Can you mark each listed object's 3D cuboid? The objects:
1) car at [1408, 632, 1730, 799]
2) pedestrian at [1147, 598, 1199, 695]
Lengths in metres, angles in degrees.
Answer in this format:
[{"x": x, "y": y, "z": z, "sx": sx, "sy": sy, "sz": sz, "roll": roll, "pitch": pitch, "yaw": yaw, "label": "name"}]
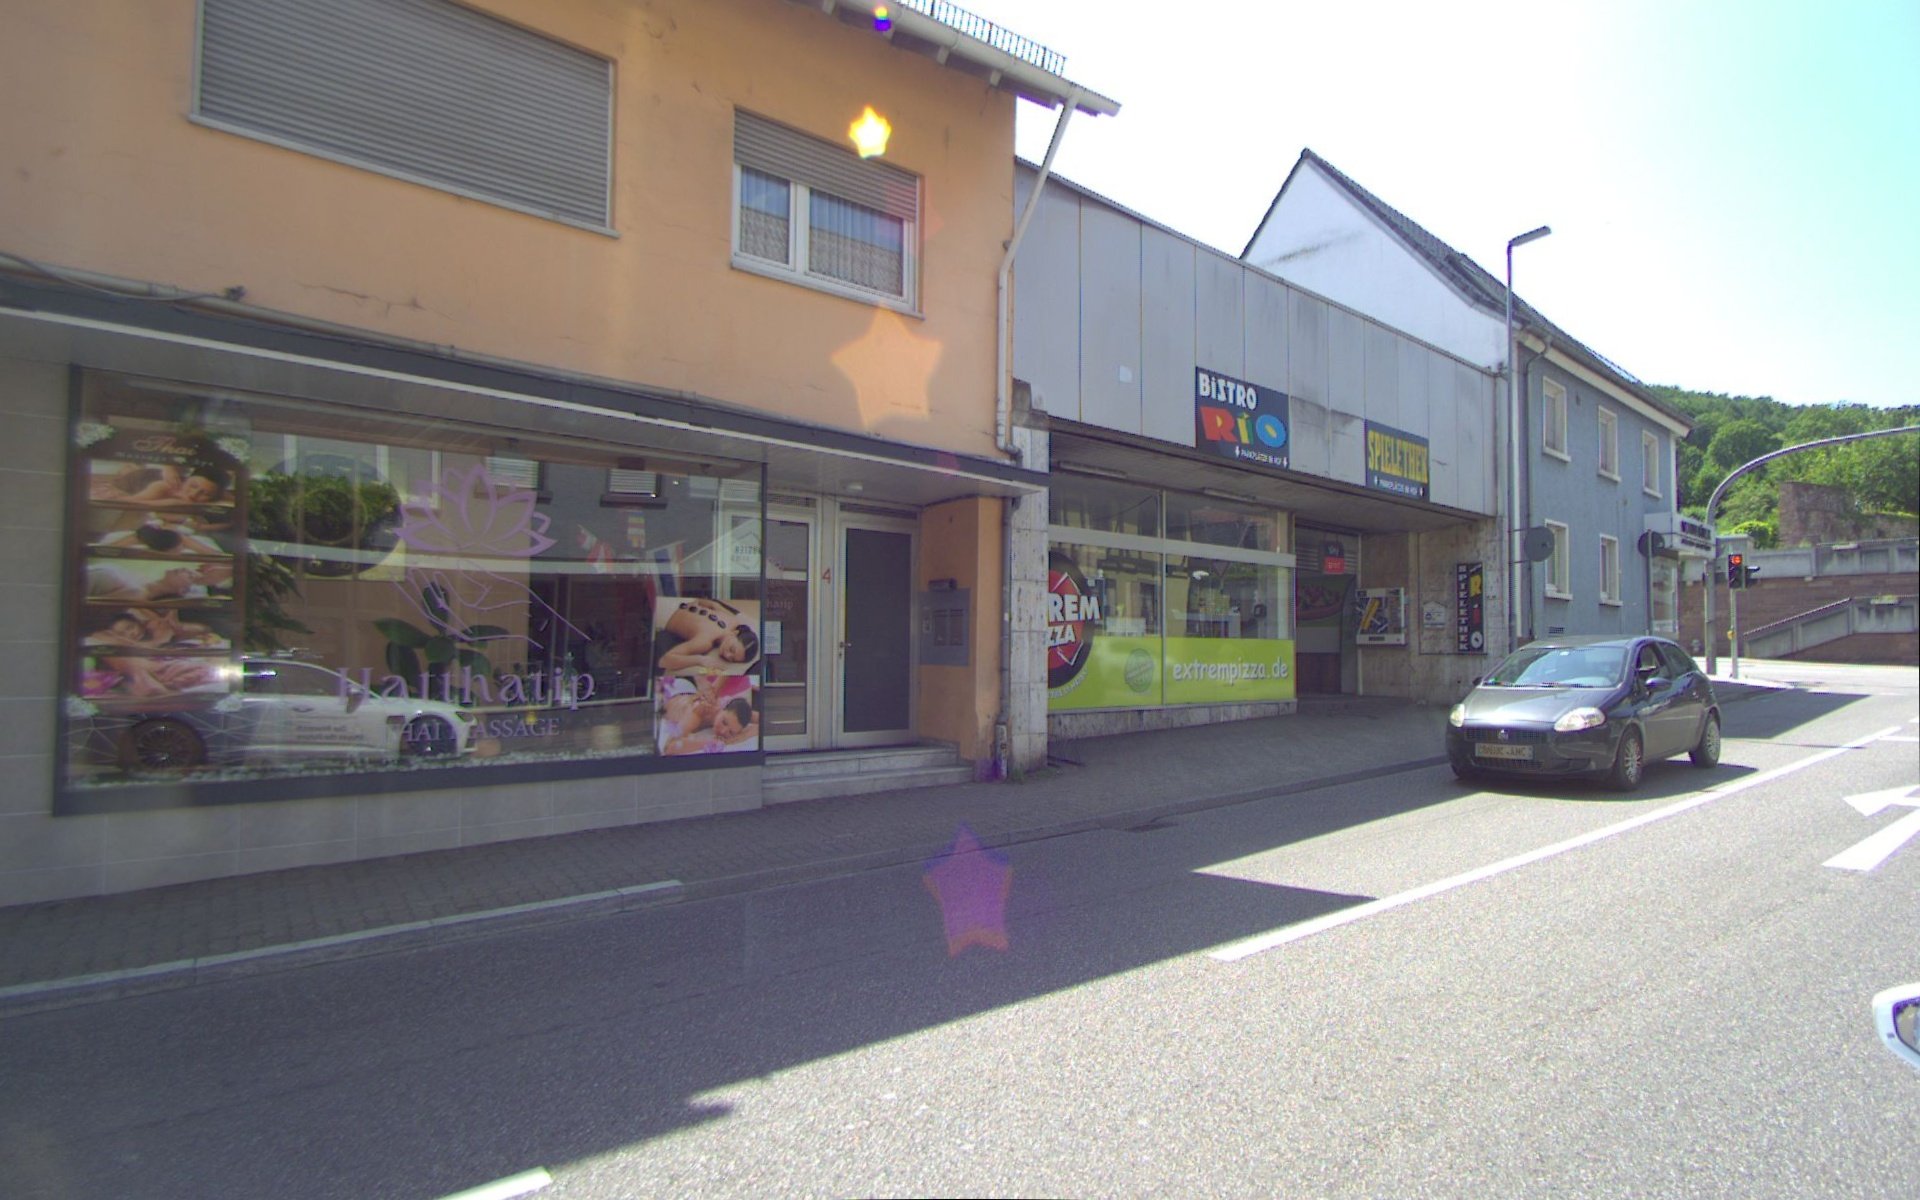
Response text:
[{"x": 6.671, "y": 1.119, "z": 10.884, "sx": 3.786, "sy": 1.441, "sz": 1.705, "roll": 0, "pitch": -3, "yaw": -38, "label": "car"}, {"x": 4.206, "y": 0.908, "z": 19.872, "sx": 0.688, "sy": 1.852, "sz": 0.736, "roll": 1, "pitch": -1, "yaw": -38, "label": "pedestrian"}]
